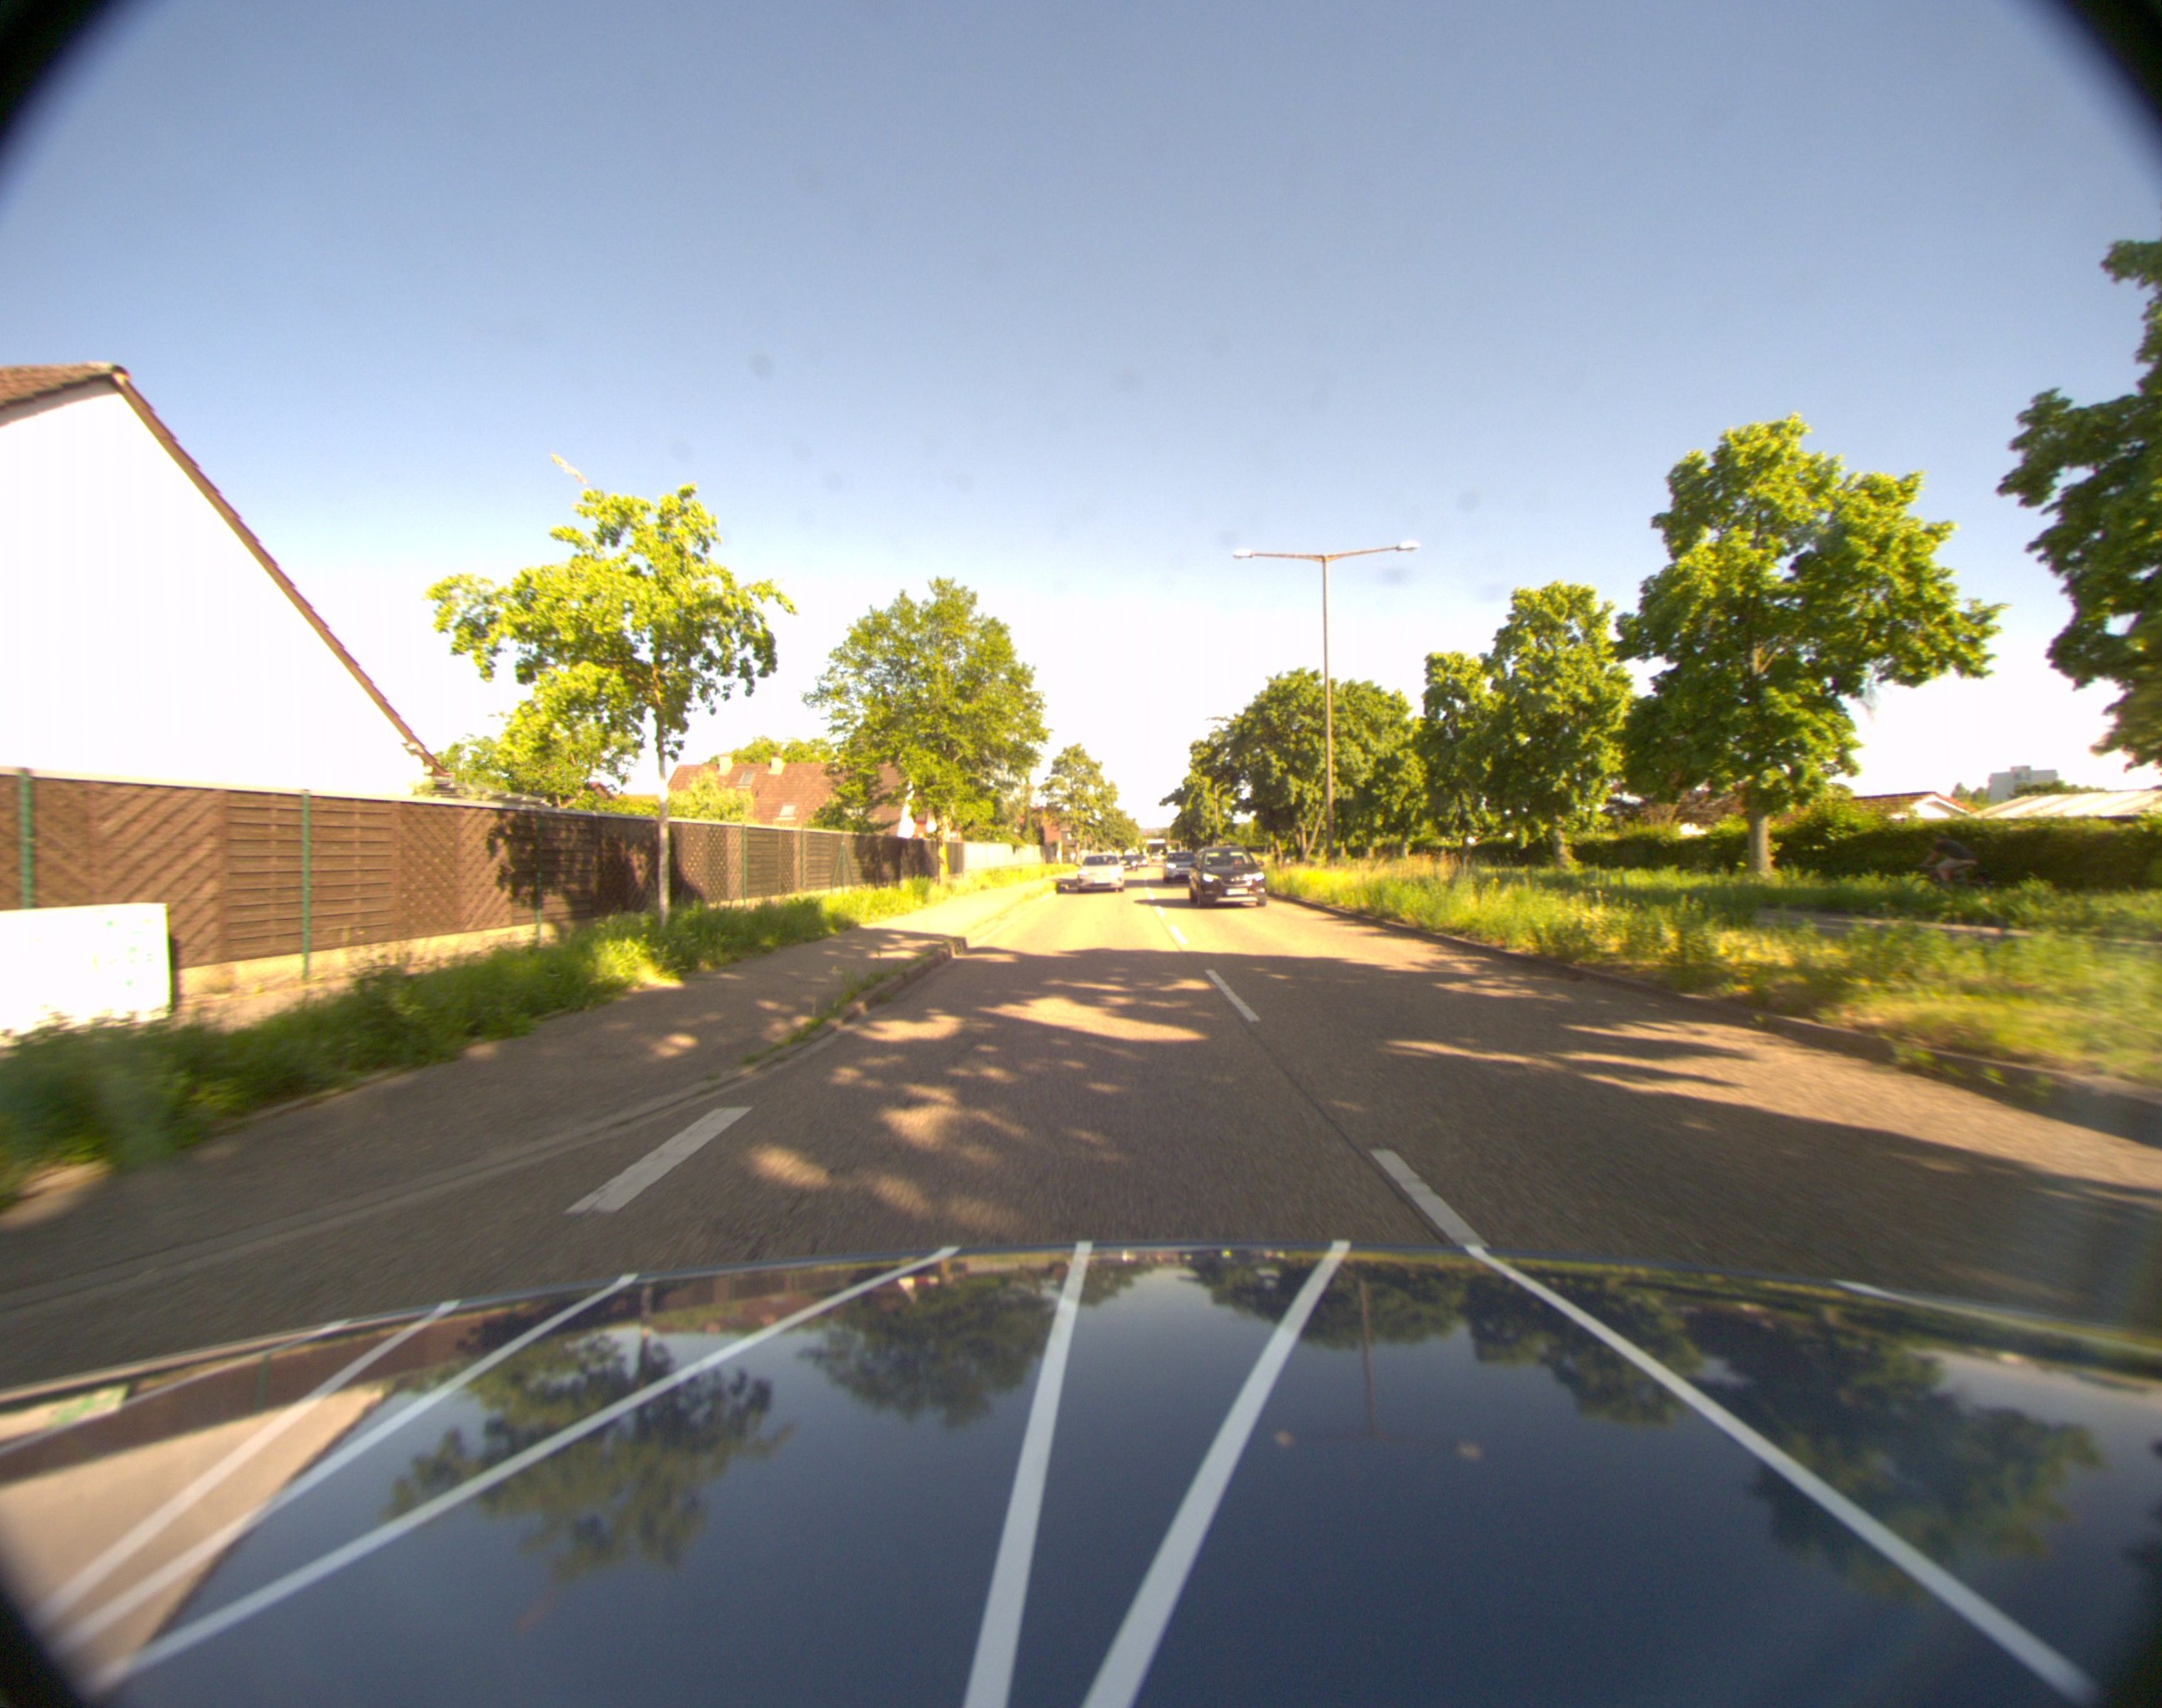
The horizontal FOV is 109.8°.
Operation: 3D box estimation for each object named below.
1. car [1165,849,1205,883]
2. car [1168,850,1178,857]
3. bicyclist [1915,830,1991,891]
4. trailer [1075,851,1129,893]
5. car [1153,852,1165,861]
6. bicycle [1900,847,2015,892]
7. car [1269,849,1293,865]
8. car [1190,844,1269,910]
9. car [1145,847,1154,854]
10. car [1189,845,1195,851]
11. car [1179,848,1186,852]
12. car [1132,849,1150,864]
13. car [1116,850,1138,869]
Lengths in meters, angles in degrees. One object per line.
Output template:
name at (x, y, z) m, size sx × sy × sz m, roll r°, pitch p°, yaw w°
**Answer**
car at (5.228, 0.569, 38.661) m, size 1.823 × 1.553 × 4.648 m, roll -2°, pitch 0°, yaw 6°
car at (22.707, -0.073, 188.512) m, size 1.998 × 1.674 × 4.000 m, roll -1°, pitch 0°, yaw 1°
bicyclist at (20.859, 0.155, 18.195) m, size 0.691 × 1.412 × 1.000 m, roll -1°, pitch 1°, yaw 3°
trailer at (0.942, 0.691, 31.602) m, size 1.896 × 1.586 × 4.001 m, roll -2°, pitch 0°, yaw 5°
car at (16.005, 0.546, 156.449) m, size 1.998 × 1.674 × 4.000 m, roll -1°, pitch 0°, yaw 1°
bicycle at (20.868, 0.345, 18.153) m, size 0.691 × 0.990 × 1.841 m, roll -1°, pitch 1°, yaw 3°
car at (22.032, 0.341, 83.986) m, size 1.942 × 1.647 × 4.001 m, roll -3°, pitch 1°, yaw 7°
car at (4.107, 0.571, 21.573) m, size 1.810 × 1.605 × 4.516 m, roll -1°, pitch 1°, yaw 6°
car at (20.051, -1.027, 222.599) m, size 1.998 × 2.069 × 3.999 m, roll -3°, pitch 1°, yaw 0°
car at (33.282, -1.736, 227.488) m, size 1.630 × 1.793 × 3.573 m, roll -1°, pitch 1°, yaw 4°
car at (34.821, -1.494, 260.541) m, size 1.631 × 1.279 × 3.507 m, roll -2°, pitch 0°, yaw -4°
car at (6.945, 0.256, 87.622) m, size 1.822 × 1.587 × 4.274 m, roll -2°, pitch 1°, yaw 7°
car at (4.186, 0.442, 68.748) m, size 1.823 × 1.553 × 4.273 m, roll -1°, pitch 1°, yaw 6°
